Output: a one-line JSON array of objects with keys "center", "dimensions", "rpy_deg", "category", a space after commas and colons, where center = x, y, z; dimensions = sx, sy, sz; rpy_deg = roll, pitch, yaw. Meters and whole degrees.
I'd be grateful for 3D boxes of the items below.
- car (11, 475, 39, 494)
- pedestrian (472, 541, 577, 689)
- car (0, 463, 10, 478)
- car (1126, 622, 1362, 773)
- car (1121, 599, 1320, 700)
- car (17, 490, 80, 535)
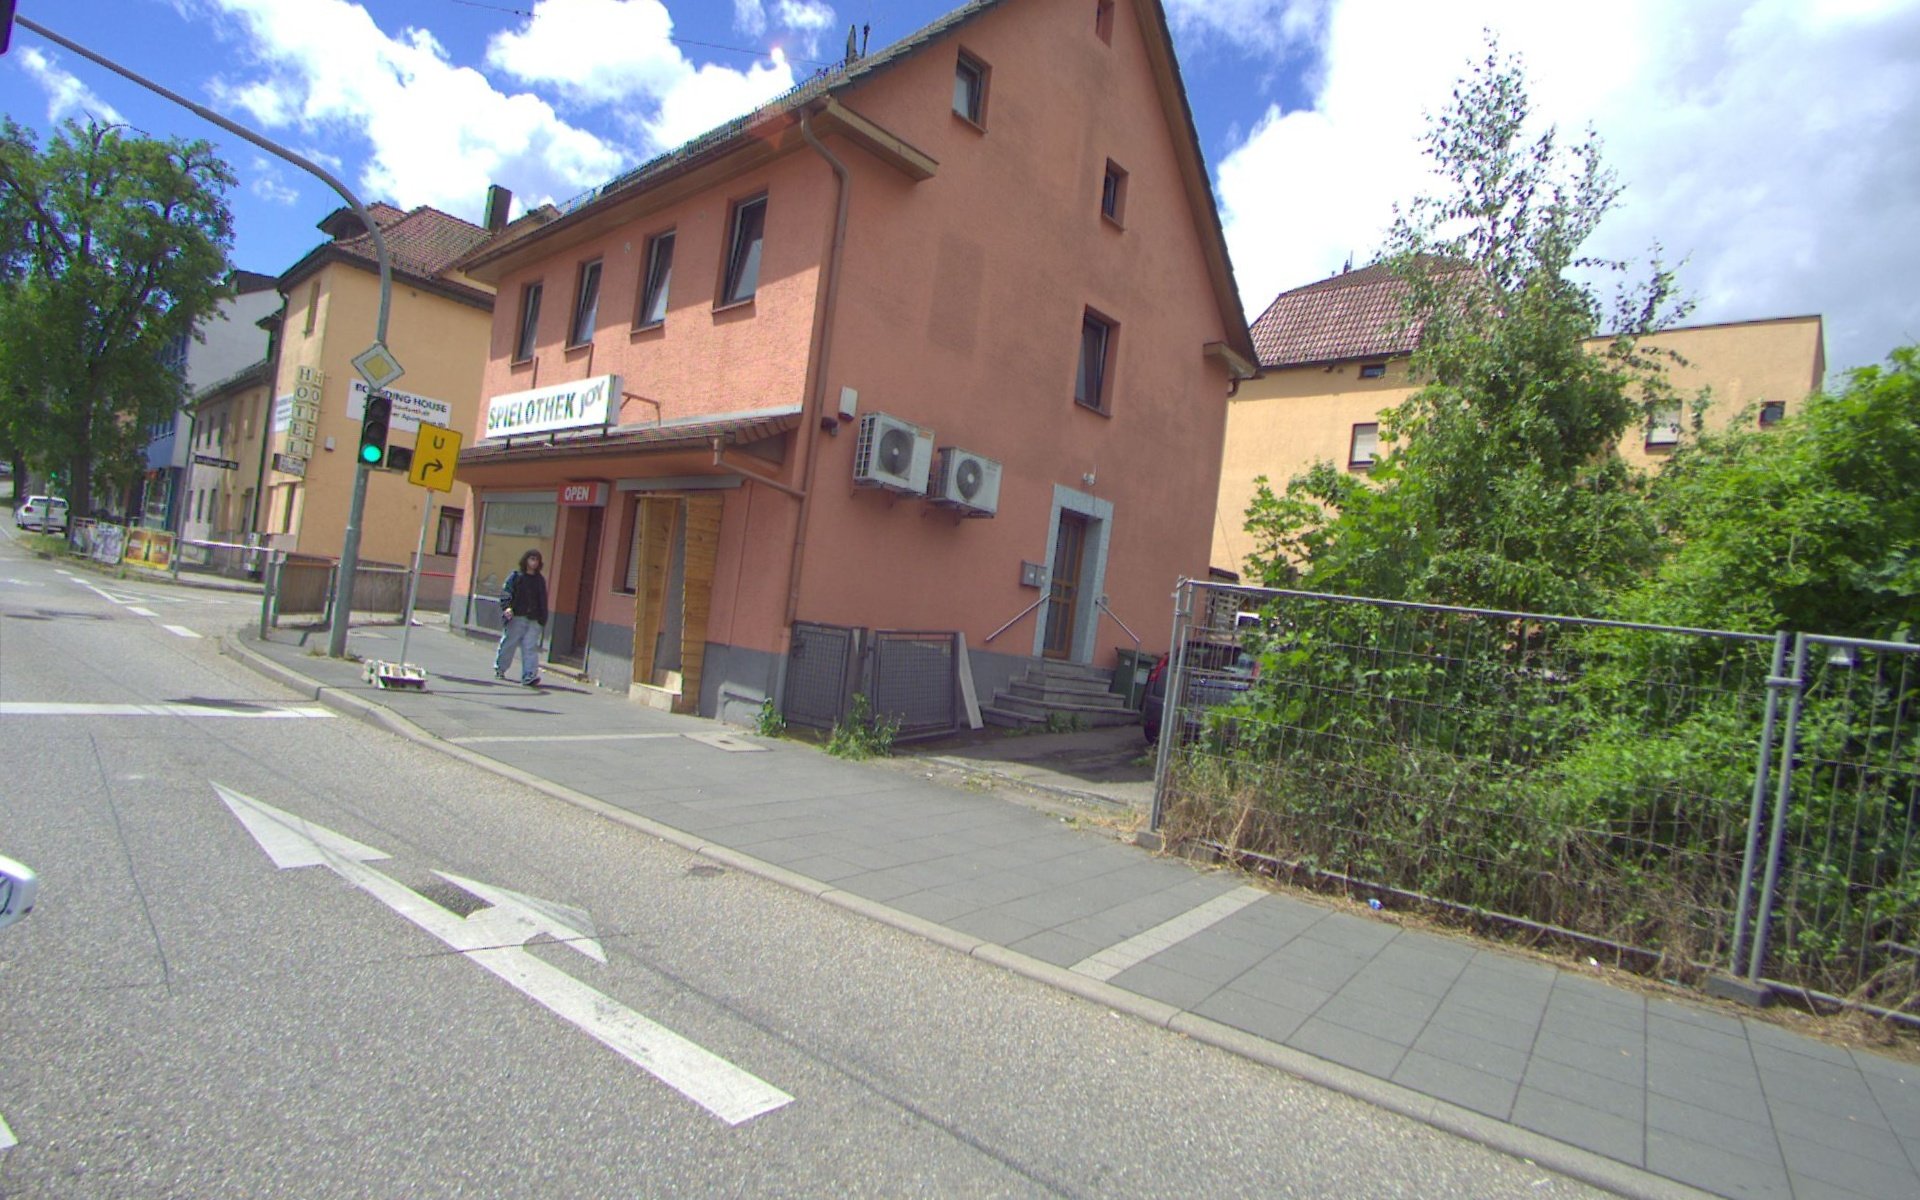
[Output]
[{"center": [-99.627, -12.295, 107.203], "dimensions": [1.810, 1.484, 3.955], "rpy_deg": [11, -3, -40], "category": "car"}, {"center": [-5.298, 0.182, 12.233], "dimensions": [0.767, 1.663, 0.762], "rpy_deg": [9, 2, 44], "category": "pedestrian"}, {"center": [-145.724, -19.768, 152.327], "dimensions": [1.982, 2.038, 3.962], "rpy_deg": [6, -1, -36], "category": "car"}, {"center": [3.613, 1.148, 12.621], "dimensions": [1.627, 1.516, 2.796], "rpy_deg": [7, 2, 44], "category": "car"}, {"center": [6.091, 1.130, 23.772], "dimensions": [3.948, 1.804, 1.989], "rpy_deg": [7, -1, 44], "category": "car"}, {"center": [-39.454, -3.792, 43.519], "dimensions": [1.782, 1.615, 3.950], "rpy_deg": [7, -1, -44], "category": "car"}]
